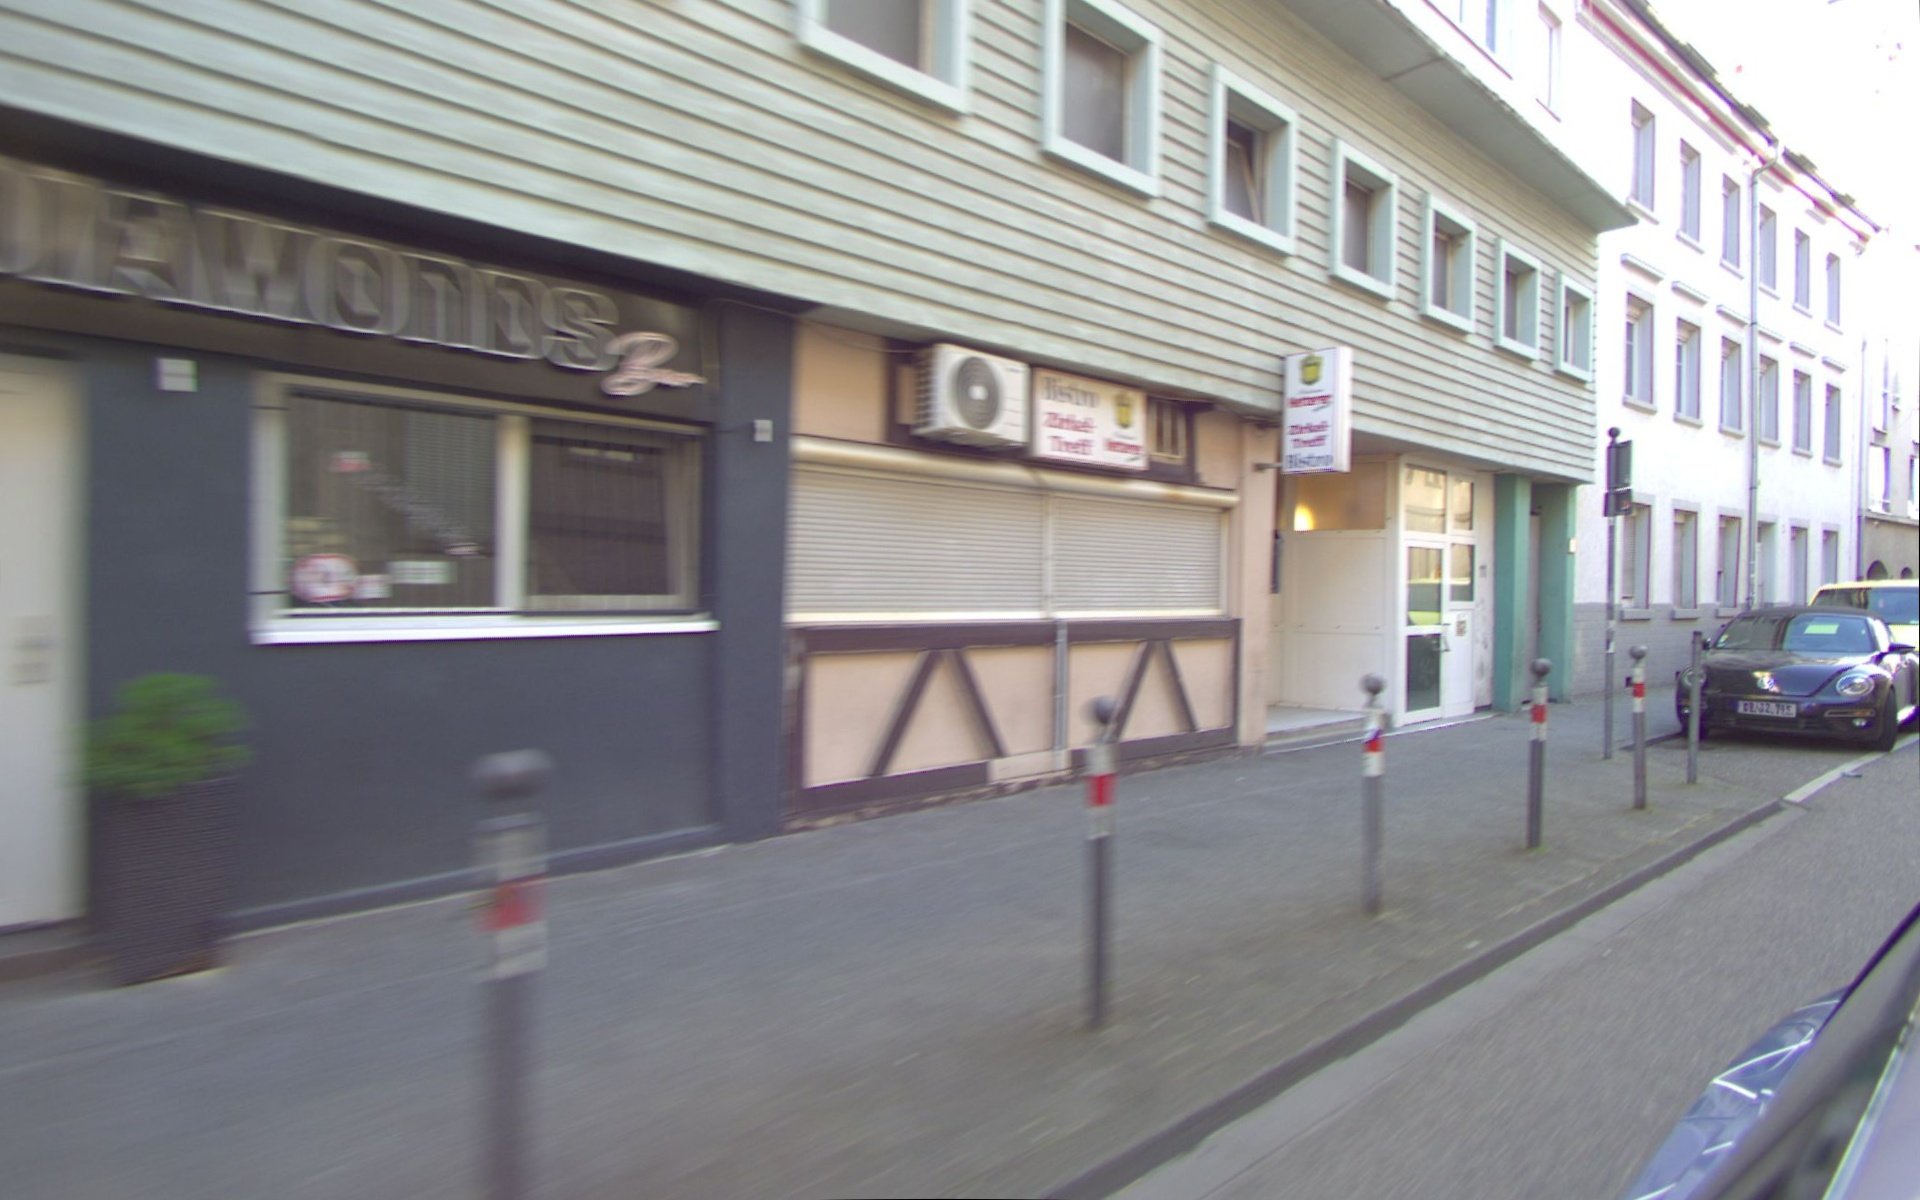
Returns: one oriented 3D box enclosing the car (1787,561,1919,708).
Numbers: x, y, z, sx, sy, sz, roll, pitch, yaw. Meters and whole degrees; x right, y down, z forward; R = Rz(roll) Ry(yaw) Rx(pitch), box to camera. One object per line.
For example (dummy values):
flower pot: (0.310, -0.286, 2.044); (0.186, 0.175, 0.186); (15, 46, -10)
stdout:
car: (14.025, 0.468, 14.913); (4.757, 1.906, 1.888); (1, 0, -38)

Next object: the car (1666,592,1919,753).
car: (9.862, 0.693, 11.611); (4.291, 1.508, 1.887); (1, 0, -41)
